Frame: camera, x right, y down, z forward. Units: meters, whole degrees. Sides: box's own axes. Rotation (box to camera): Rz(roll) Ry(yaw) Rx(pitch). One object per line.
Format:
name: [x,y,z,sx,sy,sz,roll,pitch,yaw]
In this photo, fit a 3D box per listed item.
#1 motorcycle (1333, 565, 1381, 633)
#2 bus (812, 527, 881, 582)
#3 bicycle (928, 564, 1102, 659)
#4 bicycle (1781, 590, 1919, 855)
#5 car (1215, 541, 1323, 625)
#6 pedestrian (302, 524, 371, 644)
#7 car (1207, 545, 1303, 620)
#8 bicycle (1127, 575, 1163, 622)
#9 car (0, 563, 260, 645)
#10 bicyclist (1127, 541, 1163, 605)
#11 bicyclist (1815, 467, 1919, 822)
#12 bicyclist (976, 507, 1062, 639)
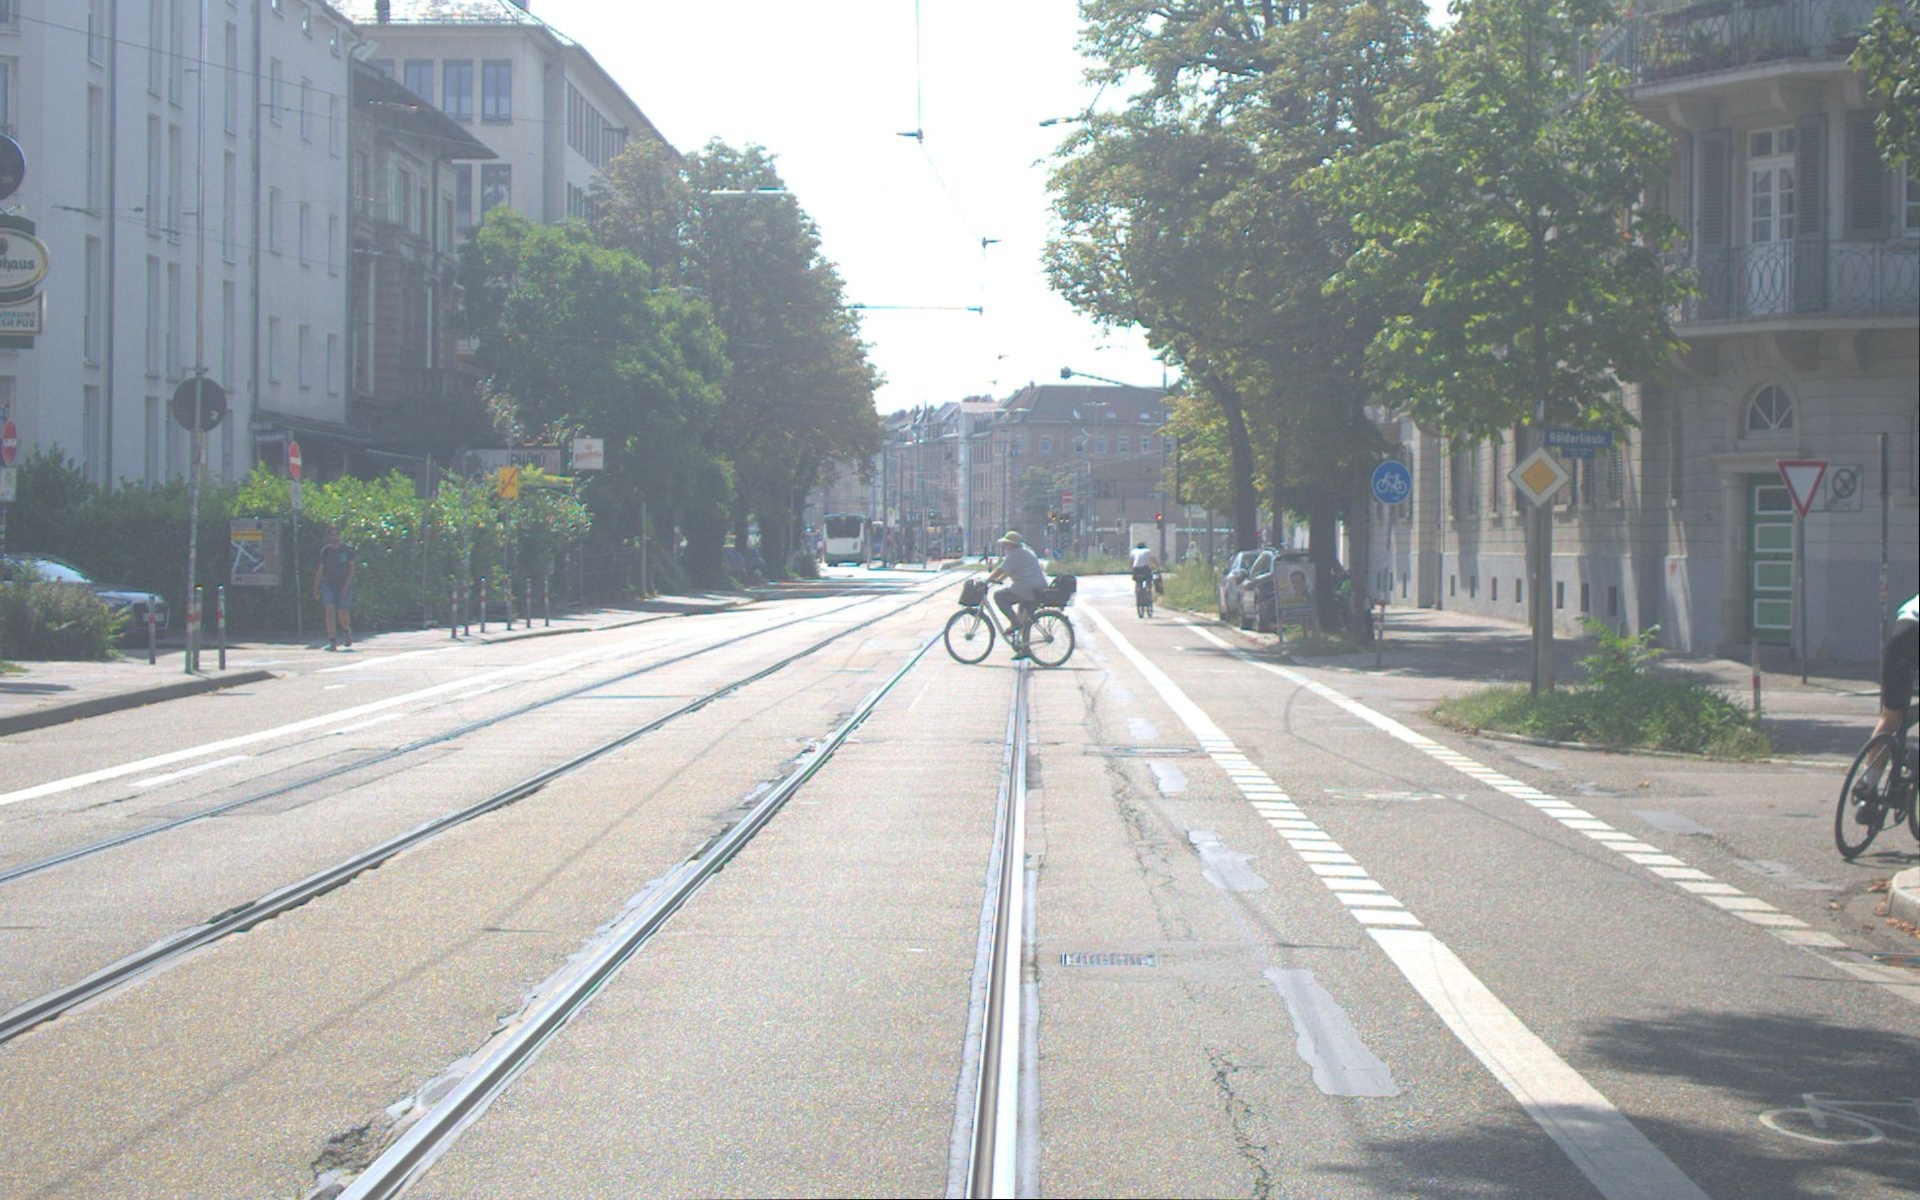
motorcycle: [6.331,-0.023,54.927,0.549,1.064,2.330,0,1,1]
bus: [-7.202,-2.919,221.346,3.735,3.352,15.119,0,1,1]
bicycle: [0.688,0.137,43.341,2.037,1.147,0.784,1,1,24]
bicycle: [5.256,0.603,18.225,1.149,1.265,2.708,1,1,27]
car: [5.526,-0.298,61.740,1.583,1.459,3.415,0,0,-1]
pedestrian: [-9.125,-0.237,50.355,0.779,1.750,1.040,0,0,2]
car: [5.926,-0.349,69.287,1.583,1.459,3.467,0,0,-1]
bicycle: [4.066,-0.041,75.456,0.759,0.987,2.298,0,1,4]
car: [-12.800,0.057,51.246,4.234,1.180,1.998,0,0,22]
bicyclist: [4.060,-0.585,75.316,0.759,1.387,0.779,0,0,4]
bicyclist: [5.209,0.227,18.166,1.127,1.830,0.954,1,1,28]
bicyclist: [0.746,-0.341,43.304,0.824,1.637,0.784,1,1,24]
